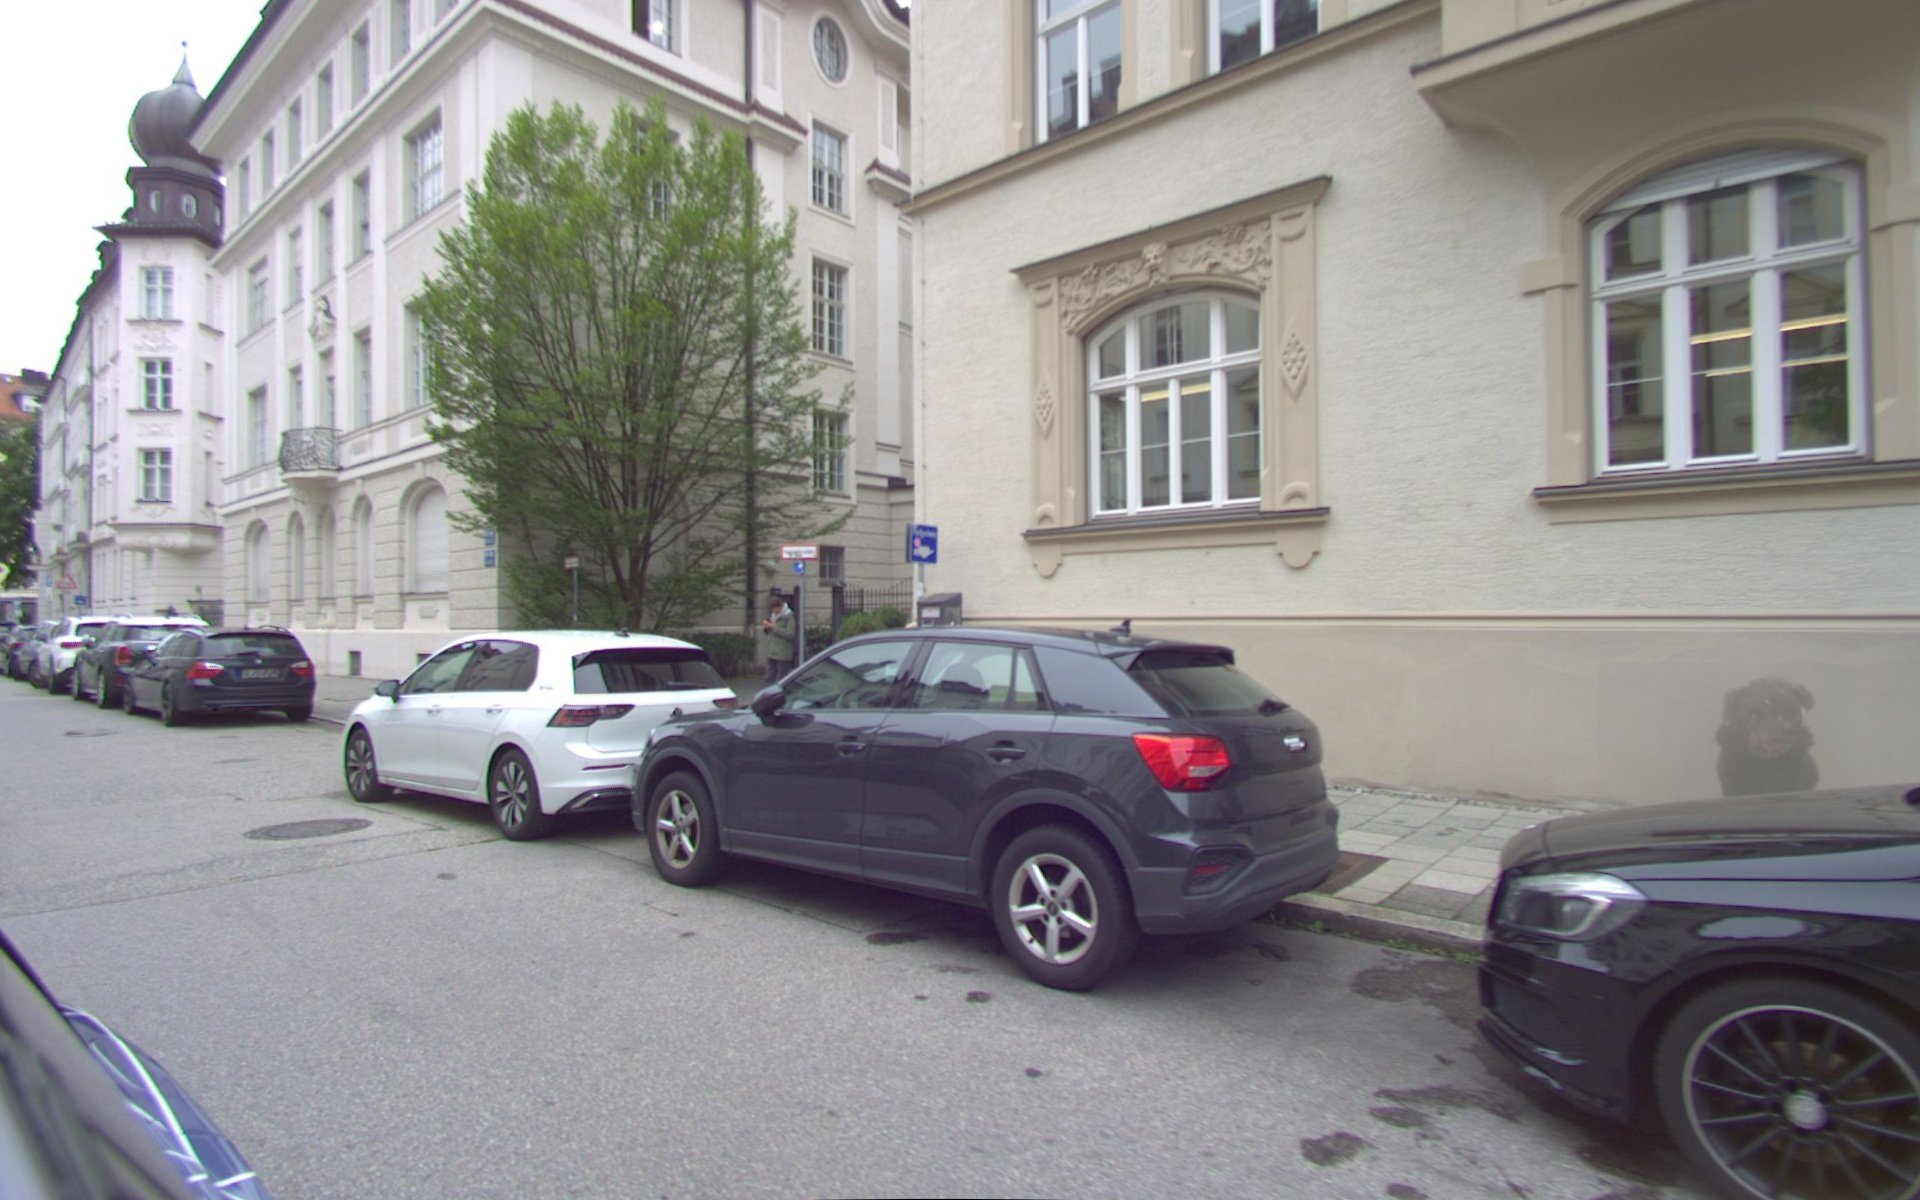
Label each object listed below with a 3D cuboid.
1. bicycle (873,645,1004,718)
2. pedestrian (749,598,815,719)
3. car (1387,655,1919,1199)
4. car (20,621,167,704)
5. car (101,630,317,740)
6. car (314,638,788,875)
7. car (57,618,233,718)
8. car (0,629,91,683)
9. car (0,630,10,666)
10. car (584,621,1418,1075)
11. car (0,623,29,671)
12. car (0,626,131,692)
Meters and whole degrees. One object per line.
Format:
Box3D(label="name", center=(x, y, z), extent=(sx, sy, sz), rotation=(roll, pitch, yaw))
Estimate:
Box3D(label="bicycle", center=(-0.354, 1.223, 15.117), extent=(2.009, 0.967, 0.686), rotation=(-6, -2, 44))
Box3D(label="pedestrian", center=(-2.489, 0.807, 14.169), extent=(0.630, 1.638, 0.666), rotation=(-2, -2, 39))
Box3D(label="car", center=(3.554, 0.856, 2.145), extent=(4.550, 1.445, 1.814), rotation=(-2, -4, 40))
Box3D(label="car", center=(-19.105, 1.309, 22.239), extent=(4.570, 1.631, 1.894), rotation=(-2, -2, 42))
Box3D(label="car", center=(-11.537, 1.203, 15.435), extent=(4.365, 1.423, 1.768), rotation=(-2, -2, 41))
Box3D(label="car", center=(-3.497, 1.057, 8.288), extent=(4.241, 1.445, 1.817), rotation=(-2, -4, 40))
Box3D(label="car", center=(-15.046, 1.176, 18.605), extent=(4.242, 1.631, 1.817), rotation=(-2, -2, 41))
Box3D(label="car", center=(-26.382, 1.582, 28.877), extent=(4.277, 1.426, 1.773), rotation=(-2, -4, 42))
Box3D(label="car", center=(-39.267, 1.886, 40.249), extent=(4.244, 1.405, 1.816), rotation=(-2, -4, 43))
Box3D(label="car", center=(-0.063, 0.953, 5.537), extent=(4.381, 1.530, 1.752), rotation=(-2, -5, 40))
Box3D(label="car", center=(-34.877, 1.662, 36.227), extent=(4.118, 1.631, 1.709), rotation=(-2, -4, 40))
Box3D(label="car", center=(-22.850, 1.471, 25.789), extent=(4.252, 1.553, 1.765), rotation=(-1, -4, 38))
